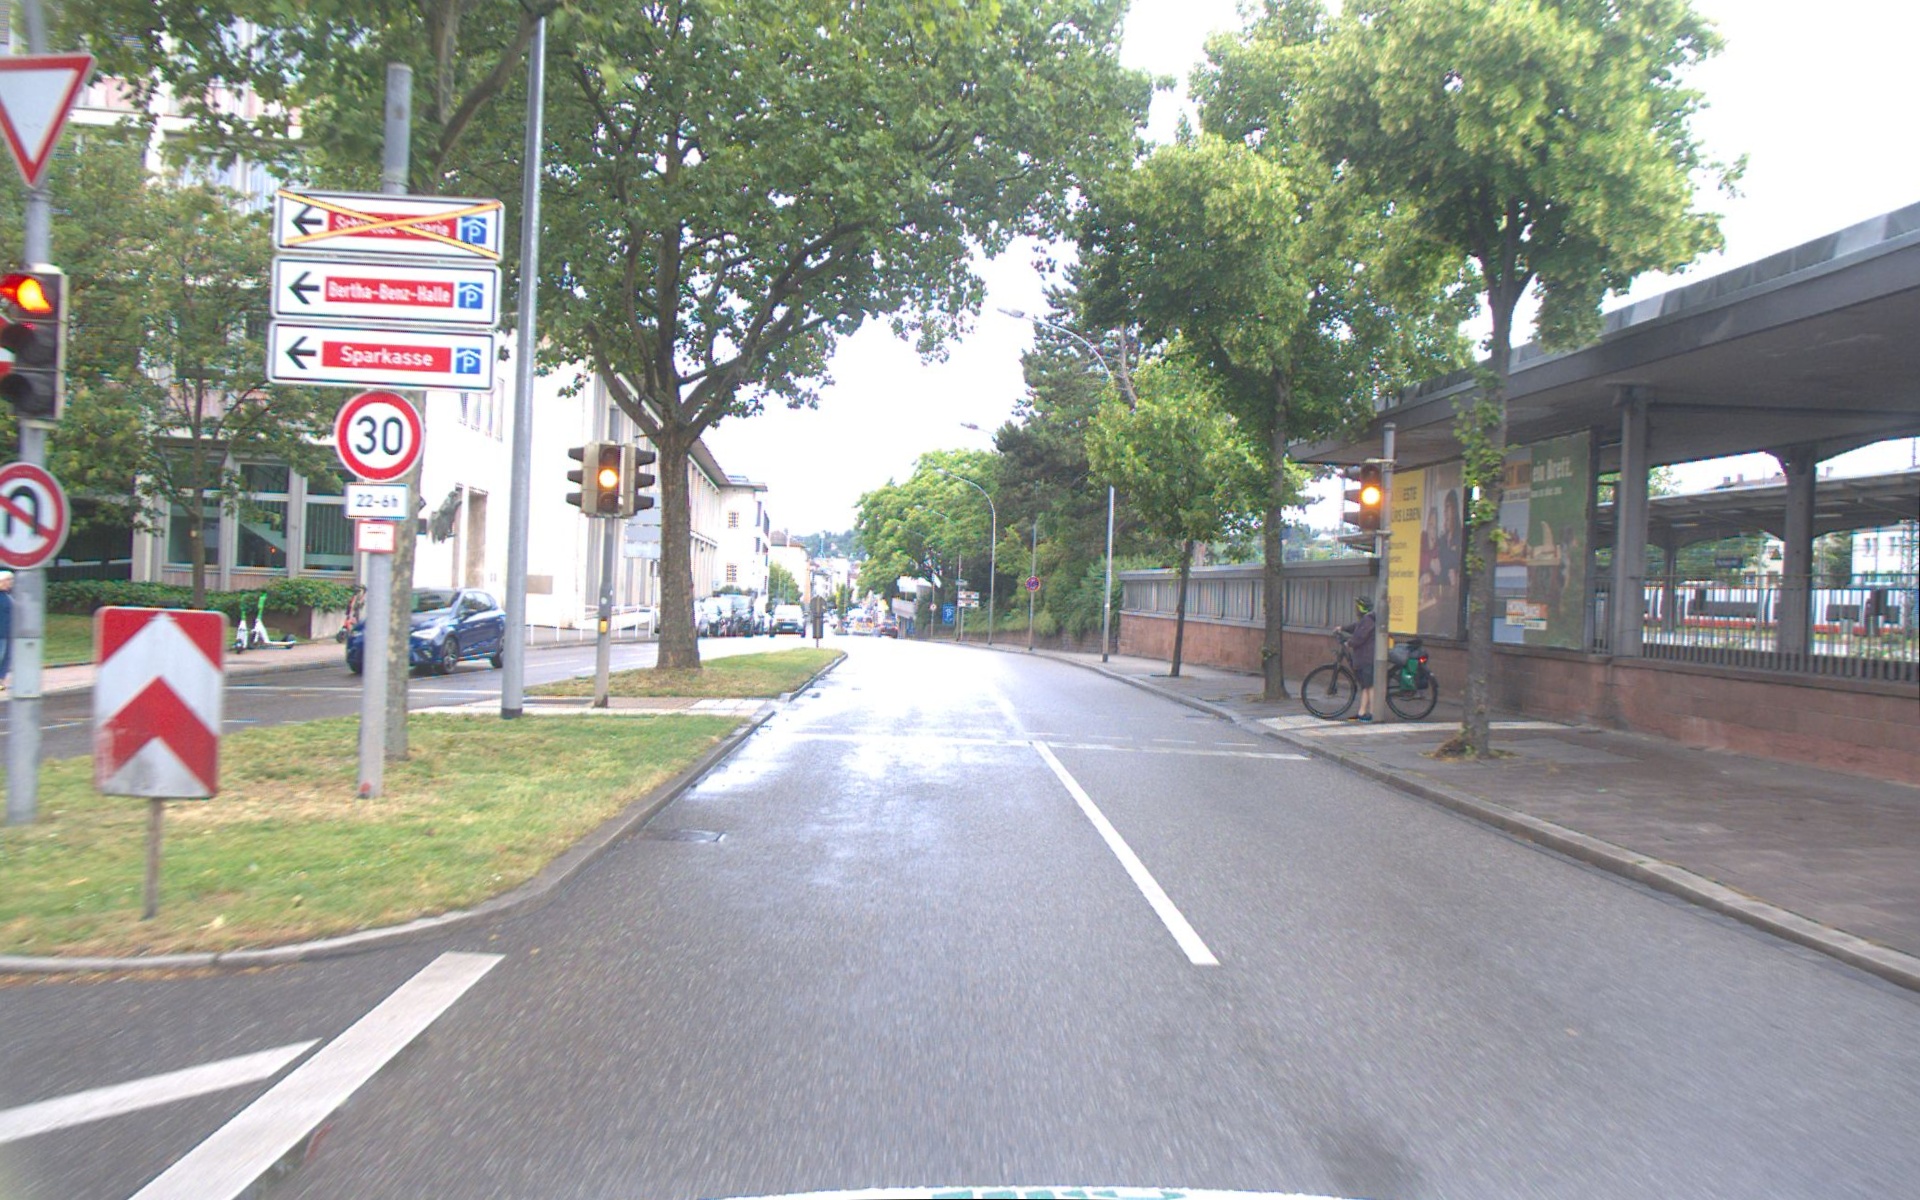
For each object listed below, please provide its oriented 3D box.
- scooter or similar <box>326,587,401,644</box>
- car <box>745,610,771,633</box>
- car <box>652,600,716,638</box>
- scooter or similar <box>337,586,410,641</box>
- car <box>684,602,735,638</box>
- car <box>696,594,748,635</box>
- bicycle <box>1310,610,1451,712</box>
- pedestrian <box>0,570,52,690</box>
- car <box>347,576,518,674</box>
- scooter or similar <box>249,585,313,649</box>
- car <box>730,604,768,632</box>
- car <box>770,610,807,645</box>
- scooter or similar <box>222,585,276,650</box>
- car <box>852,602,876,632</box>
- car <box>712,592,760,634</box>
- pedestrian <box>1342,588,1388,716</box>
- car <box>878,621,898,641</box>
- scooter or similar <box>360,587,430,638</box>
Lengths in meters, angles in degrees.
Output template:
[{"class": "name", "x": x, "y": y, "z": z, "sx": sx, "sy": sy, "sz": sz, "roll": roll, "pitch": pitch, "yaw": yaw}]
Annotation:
[{"class": "scooter or similar", "x": -13.189, "y": 0.342, "z": 36.595, "sx": 0.596, "sy": 1.213, "sz": 1.524, "roll": 1, "pitch": 0, "yaw": 31}, {"class": "car", "x": -14.463, "y": 1.583, "z": 118.557, "sx": 1.715, "sy": 1.460, "sz": 4.479, "roll": 4, "pitch": -2, "yaw": -6}, {"class": "car", "x": -10.446, "y": 0.713, "z": 62.887, "sx": 1.656, "sy": 1.320, "sz": 4.093, "roll": 3, "pitch": -1, "yaw": 0}, {"class": "scooter or similar", "x": -13.428, "y": 0.311, "z": 37.903, "sx": 0.596, "sy": 1.213, "sz": 1.524, "roll": 1, "pitch": 0, "yaw": 31}, {"class": "car", "x": -10.396, "y": 0.829, "z": 68.873, "sx": 1.511, "sy": 1.377, "sz": 4.109, "roll": 2, "pitch": -1, "yaw": -1}, {"class": "car", "x": -10.652, "y": 0.668, "z": 74.326, "sx": 1.761, "sy": 1.705, "sz": 4.601, "roll": 2, "pitch": -1, "yaw": -2}, {"class": "bicycle", "x": 5.382, "y": 0.765, "z": 21.202, "sx": 1.687, "sy": 1.271, "sz": 0.485, "roll": 0, "pitch": 0, "yaw": 30}, {"class": "pedestrian", "x": -13.118, "y": 0.403, "z": 22.971, "sx": 0.642, "sy": 1.631, "sz": 0.922, "roll": 1, "pitch": 0, "yaw": -13}, {"class": "car", "x": -9.207, "y": 0.395, "z": 29.187, "sx": 1.804, "sy": 1.534, "sz": 4.101, "roll": 2, "pitch": 0, "yaw": -3}, {"class": "scooter or similar", "x": -13.390, "y": 0.329, "z": 32.652, "sx": 0.558, "sy": 1.213, "sz": 1.574, "roll": 1, "pitch": 0, "yaw": 2}, {"class": "car", "x": -12.490, "y": 1.079, "z": 98.126, "sx": 1.779, "sy": 1.510, "sz": 4.906, "roll": 3, "pitch": -1, "yaw": -3}, {"class": "car", "x": -8.783, "y": 1.376, "z": 84.906, "sx": 1.786, "sy": 1.689, "sz": 4.333, "roll": 1, "pitch": 0, "yaw": -5}, {"class": "scooter or similar", "x": -13.332, "y": 0.319, "z": 31.038, "sx": 0.479, "sy": 1.188, "sz": 1.500, "roll": 1, "pitch": 0, "yaw": -6}, {"class": "car", "x": -9.017, "y": 1.571, "z": 155.472, "sx": 2.219, "sy": 2.703, "sz": 3.997, "roll": 0, "pitch": 0, "yaw": -4}, {"class": "car", "x": -11.133, "y": 0.655, "z": 82.530, "sx": 1.910, "sy": 1.978, "sz": 4.992, "roll": 2, "pitch": -1, "yaw": -3}, {"class": "pedestrian", "x": 5.131, "y": 0.651, "z": 20.968, "sx": 0.448, "sy": 1.596, "sz": 0.392, "roll": 1, "pitch": 0, "yaw": 30}, {"class": "car", "x": -7.664, "y": 3.293, "z": 175.606, "sx": 2.050, "sy": 1.944, "sz": 4.096, "roll": 1, "pitch": 0, "yaw": -4}, {"class": "scooter or similar", "x": -13.393, "y": 0.301, "z": 39.228, "sx": 0.596, "sy": 1.184, "sz": 1.524, "roll": 1, "pitch": 0, "yaw": 31}]
